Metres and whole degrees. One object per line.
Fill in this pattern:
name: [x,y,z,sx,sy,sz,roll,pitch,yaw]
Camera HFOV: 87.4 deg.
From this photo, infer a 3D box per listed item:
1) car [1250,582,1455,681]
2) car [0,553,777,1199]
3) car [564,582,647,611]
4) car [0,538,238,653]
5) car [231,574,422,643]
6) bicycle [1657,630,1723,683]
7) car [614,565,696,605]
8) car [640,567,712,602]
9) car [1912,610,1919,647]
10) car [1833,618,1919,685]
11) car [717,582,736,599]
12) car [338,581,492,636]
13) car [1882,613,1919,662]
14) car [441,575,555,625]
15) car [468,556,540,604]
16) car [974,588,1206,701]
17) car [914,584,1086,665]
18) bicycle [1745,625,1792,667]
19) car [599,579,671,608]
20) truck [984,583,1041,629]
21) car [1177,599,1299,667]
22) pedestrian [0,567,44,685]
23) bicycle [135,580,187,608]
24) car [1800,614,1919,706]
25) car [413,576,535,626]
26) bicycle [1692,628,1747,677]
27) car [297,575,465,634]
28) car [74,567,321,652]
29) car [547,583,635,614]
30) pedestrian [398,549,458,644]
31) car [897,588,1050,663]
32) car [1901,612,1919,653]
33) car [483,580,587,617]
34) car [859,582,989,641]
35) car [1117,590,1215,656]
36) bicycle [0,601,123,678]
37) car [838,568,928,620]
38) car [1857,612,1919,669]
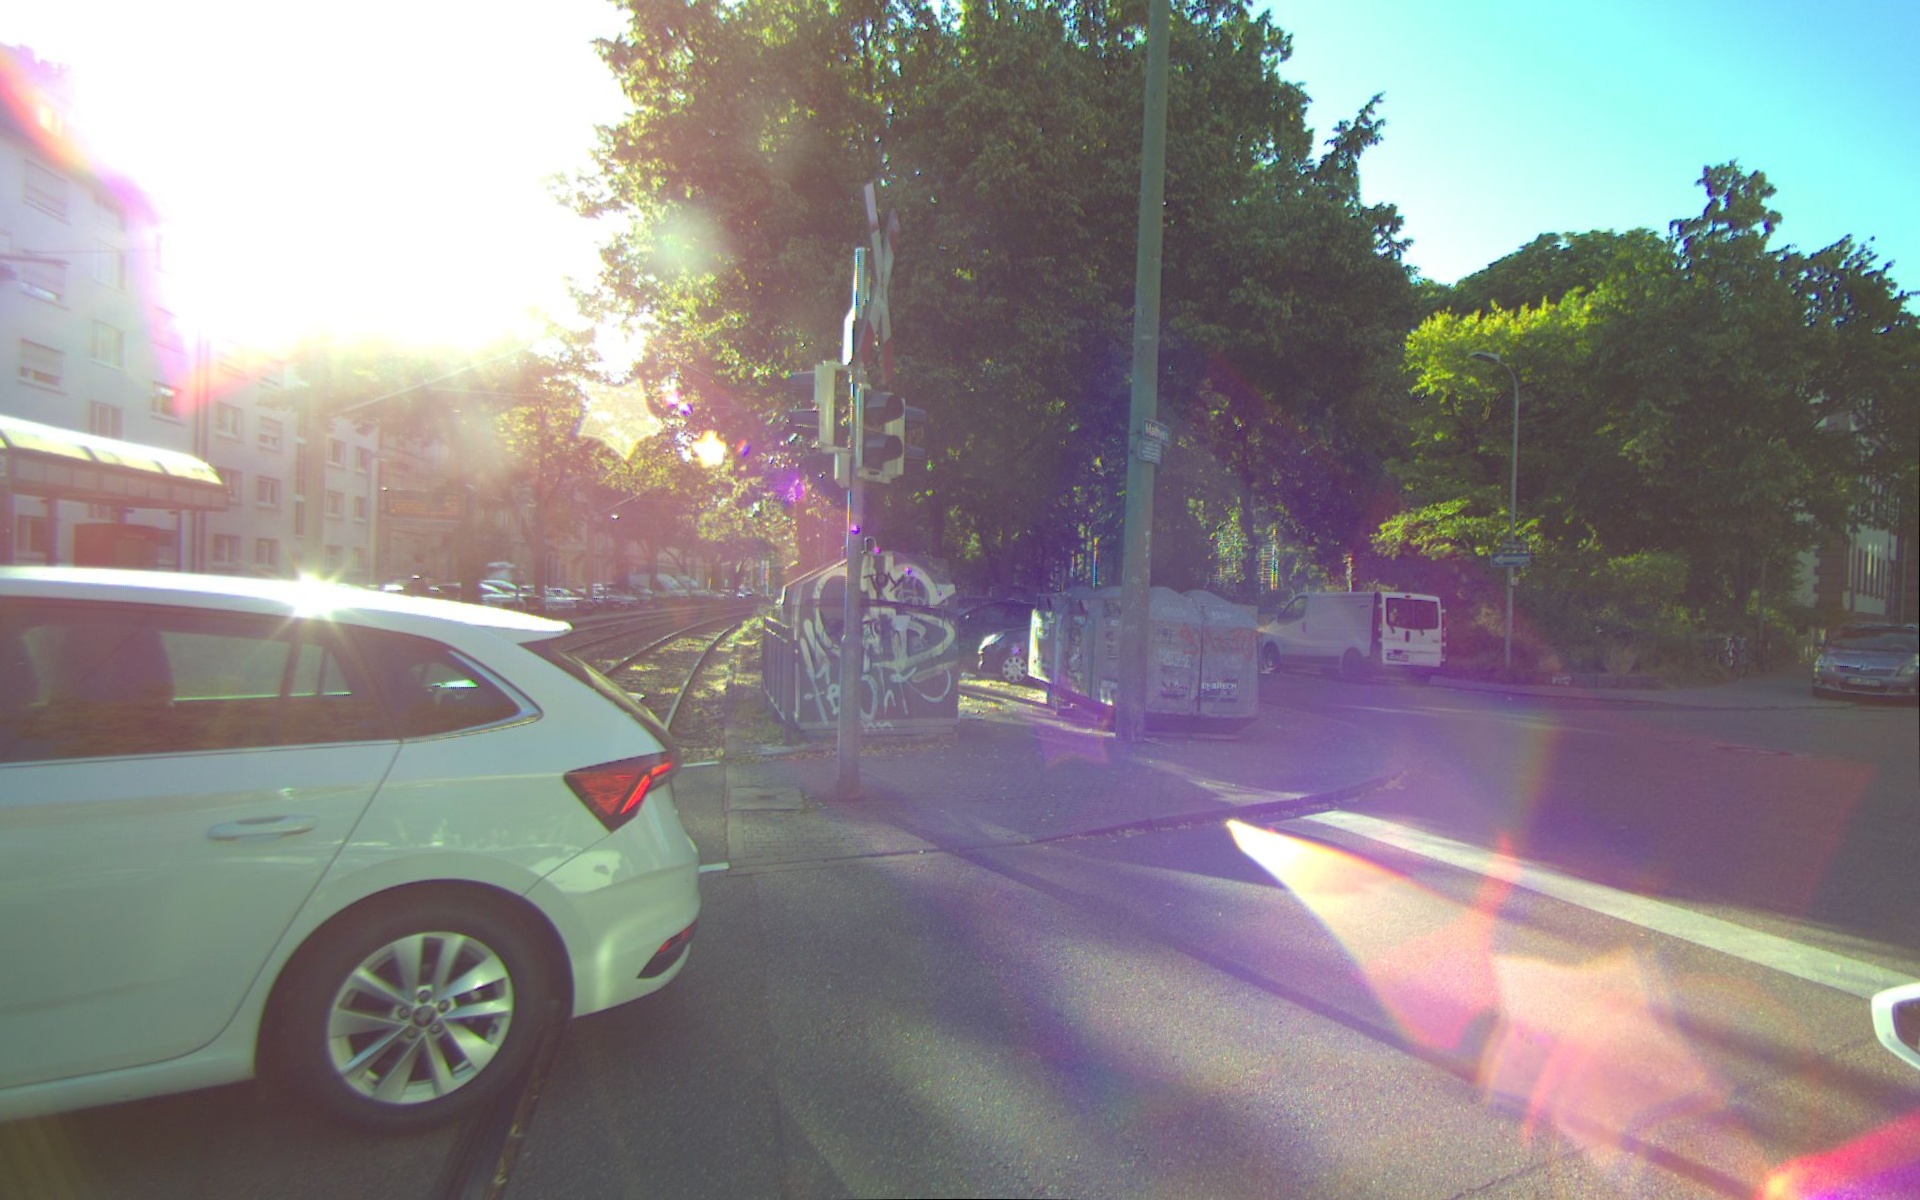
car: [8.825,0.632,23.091,1.919,2.030,4.643,1,1,-16]
car: [-2.717,0.613,2.790,4.014,1.476,1.694,1,1,-30]
car: [-20.033,-0.199,56.740,4.158,1.493,1.857,-2,1,20]
car: [-14.026,-0.043,16.435,4.160,1.675,1.606,-2,1,23]
car: [-15.639,0.201,24.836,4.157,1.528,1.608,-2,1,16]
bicycle: [16.411,1.237,22.559,2.606,1.116,0.591,1,1,-41]
car: [-21.809,-1.066,71.825,5.166,2.606,2.272,-2,1,20]
car: [-22.747,-1.227,80.458,5.166,2.606,2.272,-2,1,20]
car: [41.815,1.288,42.495,3.902,1.520,1.809,1,4,-42]
car: [24.539,1.311,26.421,3.902,1.466,1.809,1,4,-42]
car: [-37.419,-1.581,161.194,1.682,2.597,5.566,1,1,0]
car: [-16.587,0.251,30.588,4.157,1.478,1.608,-2,1,16]
car: [33.280,1.312,34.594,3.902,1.520,1.809,1,4,-42]
car: [-17.942,-0.001,38.980,4.164,1.772,1.855,-2,1,28]
car: [-29.082,-1.282,64.234,2.512,2.926,5.476,1,1,-5]
car: [2.262,0.704,17.249,3.661,1.541,1.608,5,1,15]
car: [0.926,0.519,22.790,3.546,1.466,1.608,5,1,15]
bicycle: [23.164,1.303,28.759,2.607,1.116,0.591,1,1,-41]
car: [-21.223,-0.440,65.658,4.158,1.722,1.857,-2,1,20]
truck: [2.810,0.281,55.088,2.330,2.384,4.377,2,1,-8]
car: [7.558,0.862,27.667,1.550,1.659,3.700,1,1,-15]
pedestrian: [-10.886,0.289,11.536,0.332,1.319,0.451,1,1,-11]
bicycle: [-30.680,-0.239,38.617,0.523,1.016,2.172,2,1,-9]
car: [19.889,1.225,21.830,4.259,1.636,1.809,1,4,-42]
car: [-17.684,0.045,36.511,4.164,1.673,1.855,-2,1,28]
bicycle: [18.427,1.246,24.352,2.608,1.116,0.591,1,1,-43]
car: [-16.200,0.130,28.133,4.157,1.478,1.608,-2,1,16]
car: [-14.835,0.180,19.575,4.122,1.456,1.701,-2,1,17]
car: [-19.741,-0.097,53.768,4.158,1.493,1.857,-2,1,20]
pedestrian: [-11.185,-0.075,21.146,0.835,1.936,0.836,1,1,-8]
car: [0.368,0.619,25.729,3.546,1.583,1.608,5,1,16]
car: [38.027,1.312,38.951,3.902,1.520,1.809,1,4,-42]
car: [-19.237,-0.059,45.464,4.158,1.493,1.857,-2,1,20]
car: [-1.112,0.367,31.939,3.752,1.516,1.739,5,0,11]
car: [6.507,0.675,32.116,1.549,1.929,3.891,1,1,-13]
bicycle: [-10.522,0.431,11.679,0.442,0.794,1.640,2,1,-10]
car: [-4.260,-0.345,55.559,4.413,2.508,1.819,4,0,23]
car: [28.551,1.211,30.232,3.902,1.498,1.809,1,4,-42]
